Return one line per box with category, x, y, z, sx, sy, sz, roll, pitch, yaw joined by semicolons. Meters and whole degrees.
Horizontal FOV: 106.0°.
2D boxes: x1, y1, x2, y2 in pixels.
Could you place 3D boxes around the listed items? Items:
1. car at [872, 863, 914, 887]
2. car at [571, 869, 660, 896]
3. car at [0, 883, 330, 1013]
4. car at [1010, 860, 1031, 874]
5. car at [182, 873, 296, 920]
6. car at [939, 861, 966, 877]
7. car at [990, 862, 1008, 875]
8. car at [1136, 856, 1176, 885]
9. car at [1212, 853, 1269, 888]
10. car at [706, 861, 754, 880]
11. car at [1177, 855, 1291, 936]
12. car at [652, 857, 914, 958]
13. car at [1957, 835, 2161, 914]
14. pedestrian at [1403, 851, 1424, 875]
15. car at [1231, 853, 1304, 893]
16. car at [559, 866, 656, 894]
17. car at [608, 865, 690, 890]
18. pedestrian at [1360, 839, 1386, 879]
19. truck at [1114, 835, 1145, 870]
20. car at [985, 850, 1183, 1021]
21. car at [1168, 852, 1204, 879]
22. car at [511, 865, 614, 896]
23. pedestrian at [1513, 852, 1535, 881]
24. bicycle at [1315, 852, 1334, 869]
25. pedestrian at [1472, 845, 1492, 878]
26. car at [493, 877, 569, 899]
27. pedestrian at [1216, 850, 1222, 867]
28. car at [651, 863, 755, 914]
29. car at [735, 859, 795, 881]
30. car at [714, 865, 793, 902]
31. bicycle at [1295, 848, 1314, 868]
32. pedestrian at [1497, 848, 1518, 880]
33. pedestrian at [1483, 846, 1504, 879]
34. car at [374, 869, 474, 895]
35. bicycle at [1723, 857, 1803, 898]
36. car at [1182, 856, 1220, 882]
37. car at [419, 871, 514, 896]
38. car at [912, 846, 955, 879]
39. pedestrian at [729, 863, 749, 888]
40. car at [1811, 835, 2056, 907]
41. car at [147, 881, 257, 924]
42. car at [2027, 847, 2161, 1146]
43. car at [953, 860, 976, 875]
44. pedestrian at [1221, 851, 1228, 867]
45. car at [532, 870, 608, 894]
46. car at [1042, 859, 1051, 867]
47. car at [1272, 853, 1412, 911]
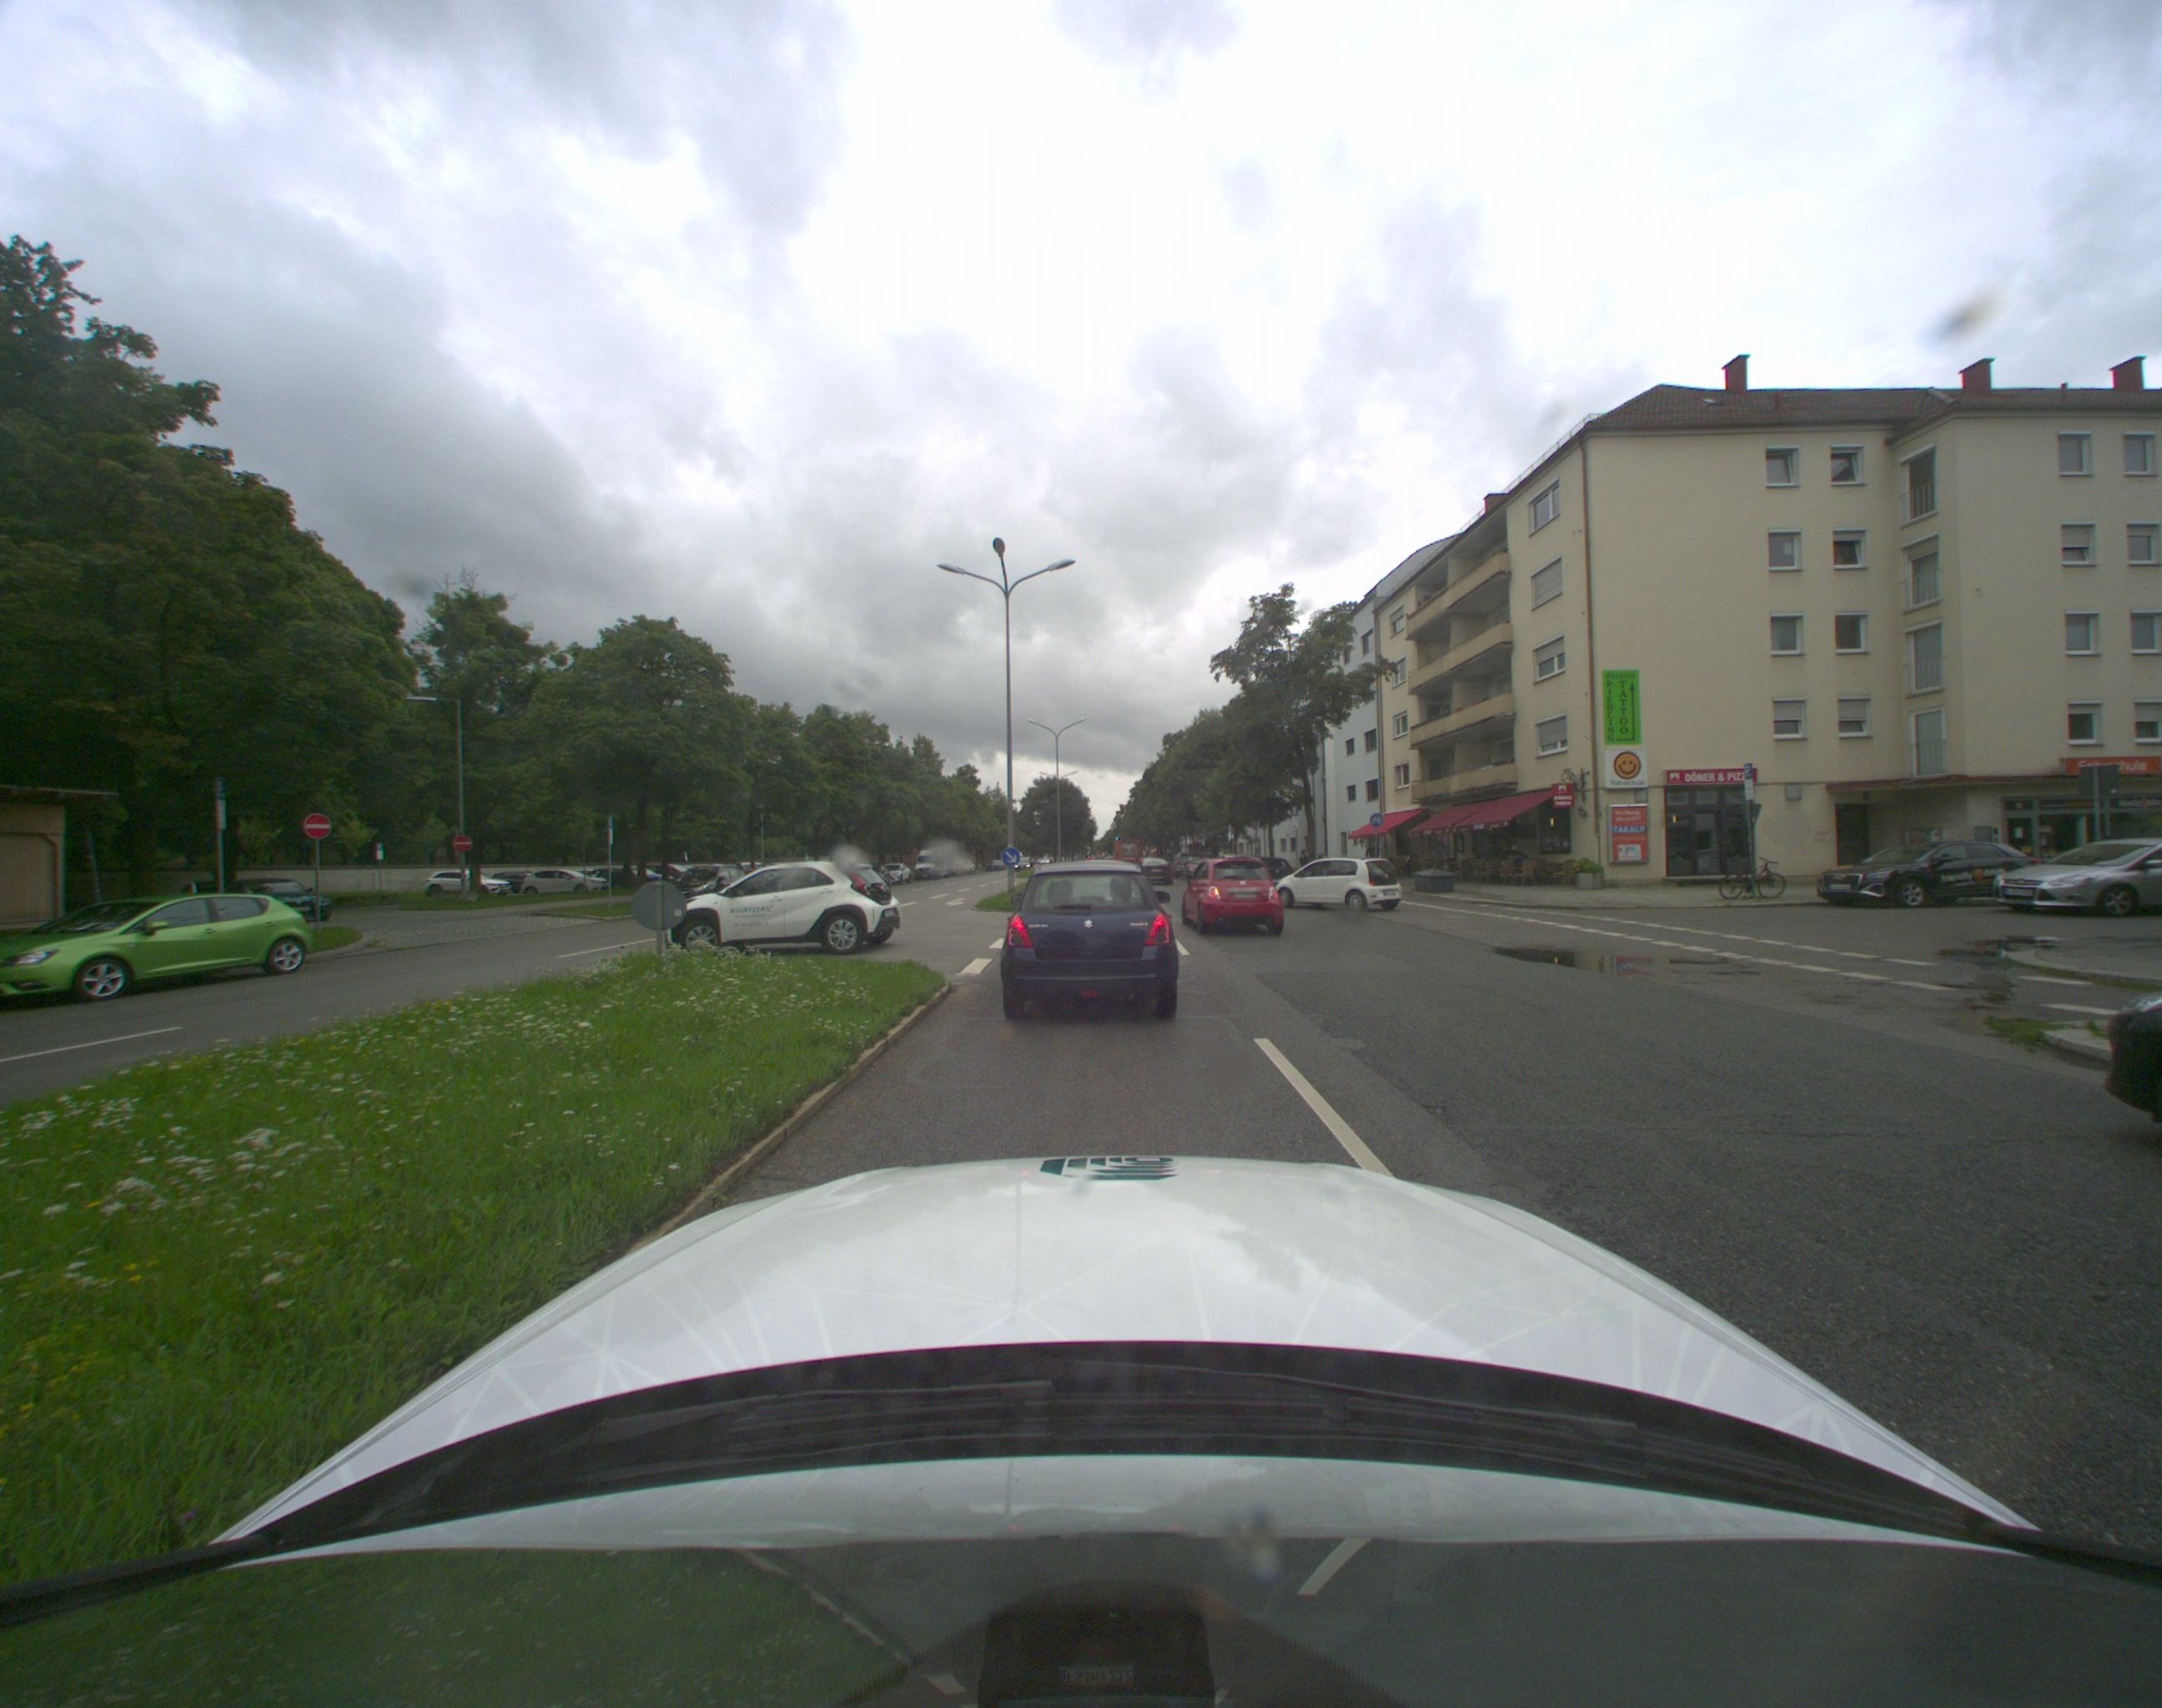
car;-13.127;1.450;57.090;1.816;1.527;4.298;-3;-1;0
car;-27.081;1.635;47.521;3.980;1.442;1.997;-1;0;-5
car;-14.264;1.309;12.481;1.634;1.499;4.002;-3;0;2
car;-6.574;1.414;88.622;1.809;1.448;4.782;-2;0;0
car;-28.352;1.396;27.418;3.809;1.409;1.871;-1;0;31
car;-12.443;1.479;79.015;1.851;1.491;4.251;-1;-1;0
car;-10.978;1.935;109.678;1.881;1.537;4.313;-4;0;-1
car;4.051;0.843;44.457;1.815;1.477;4.691;1;0;1
car;7.489;0.756;38.669;1.823;1.522;4.523;-1;0;0
car;-40.023;1.860;92.916;4.490;2.034;2.000;-1;0;0
car;3.132;0.780;17.474;1.712;1.501;4.301;-1;0;1
car;-4.941;0.860;13.815;3.690;1.553;1.830;-1;0;5
car;20.680;0.362;16.202;4.189;1.442;2.002;-1;0;4
pedestrian;16.066;0.425;39.401;0.741;1.163;0.647;-1;0;1
car;7.403;0.736;32.682;1.825;1.473;3.883;-1;0;-4
car;-26.162;1.429;45.092;4.123;1.442;1.999;-1;0;-2
car;-26.704;1.432;50.416;3.980;1.442;1.997;-1;0;-5
pedestrian;14.359;0.231;40.034;0.870;1.929;0.757;-1;0;-15
truck;5.223;-0.124;89.755;3.030;3.557;13.681;-1;0;2
car;0.098;0.734;9.290;1.746;1.505;4.002;-1;0;2
car;7.136;0.781;55.840;1.823;1.746;4.507;-1;0;0
car;-26.714;1.336;42.092;3.980;1.442;1.997;-1;0;-5
pedestrian;16.215;0.463;29.816;0.536;1.054;0.487;-1;0;1
bicycle;16.492;0.449;55.177;0.619;1.046;2.196;-5;0;2
pedestrian;16.539;0.313;33.582;0.536;1.339;0.552;-1;0;0
car;-37.550;2.297;55.672;3.967;1.372;1.881;-1;0;6
pedestrian;14.416;0.478;85.023;0.498;1.733;0.733;-3;-1;1
car;-13.750;1.229;29.885;1.815;1.700;4.238;-1;-1;0
car;-24.750;1.267;63.839;3.971;1.570;1.816;-1;0;2
car;-13.971;1.234;34.994;1.815;1.479;3.809;-1;-1;0
bicycle;16.382;0.280;59.704;0.700;1.407;2.593;-3;0;1
pedestrian;16.417;0.397;31.376;0.536;1.214;0.487;-1;0;1
pedestrian;16.386;0.339;32.364;0.536;1.268;0.487;-1;0;0
car;-39.353;1.662;48.828;4.484;1.442;2.003;-1;0;5
bicycle;17.596;0.598;21.034;1.532;1.011;0.554;-1;0;4
car;7.490;0.886;50.978;1.823;1.522;3.770;-1;0;0
car;-38.415;1.840;50.969;4.486;1.442;2.002;-1;0;3
car;-12.819;0.794;71.279;2.132;2.644;7.106;-3;-2;2
pedestrian;-20.844;1.289;49.657;0.792;1.495;0.856;-2;0;1
car;19.689;0.379;18.937;3.913;1.519;1.730;-1;0;-1
car;-31.907;1.709;29.530;4.411;1.409;1.871;-1;0;31
car;6.137;0.709;2.625;1.638;1.477;3.957;-1;0;1
car;-12.379;1.454;86.637;1.851;1.491;4.141;-1;-1;0
pedestrian;15.007;0.489;85.025;0.547;1.629;0.641;-3;-1;1
car;-38.916;2.110;62.077;4.490;1.625;2.000;-1;0;0
car;-7.358;1.956;174.399;1.756;1.537;4.312;-4;0;-1
car;7.290;0.741;22.956;1.700;1.490;3.396;-1;0;-37
